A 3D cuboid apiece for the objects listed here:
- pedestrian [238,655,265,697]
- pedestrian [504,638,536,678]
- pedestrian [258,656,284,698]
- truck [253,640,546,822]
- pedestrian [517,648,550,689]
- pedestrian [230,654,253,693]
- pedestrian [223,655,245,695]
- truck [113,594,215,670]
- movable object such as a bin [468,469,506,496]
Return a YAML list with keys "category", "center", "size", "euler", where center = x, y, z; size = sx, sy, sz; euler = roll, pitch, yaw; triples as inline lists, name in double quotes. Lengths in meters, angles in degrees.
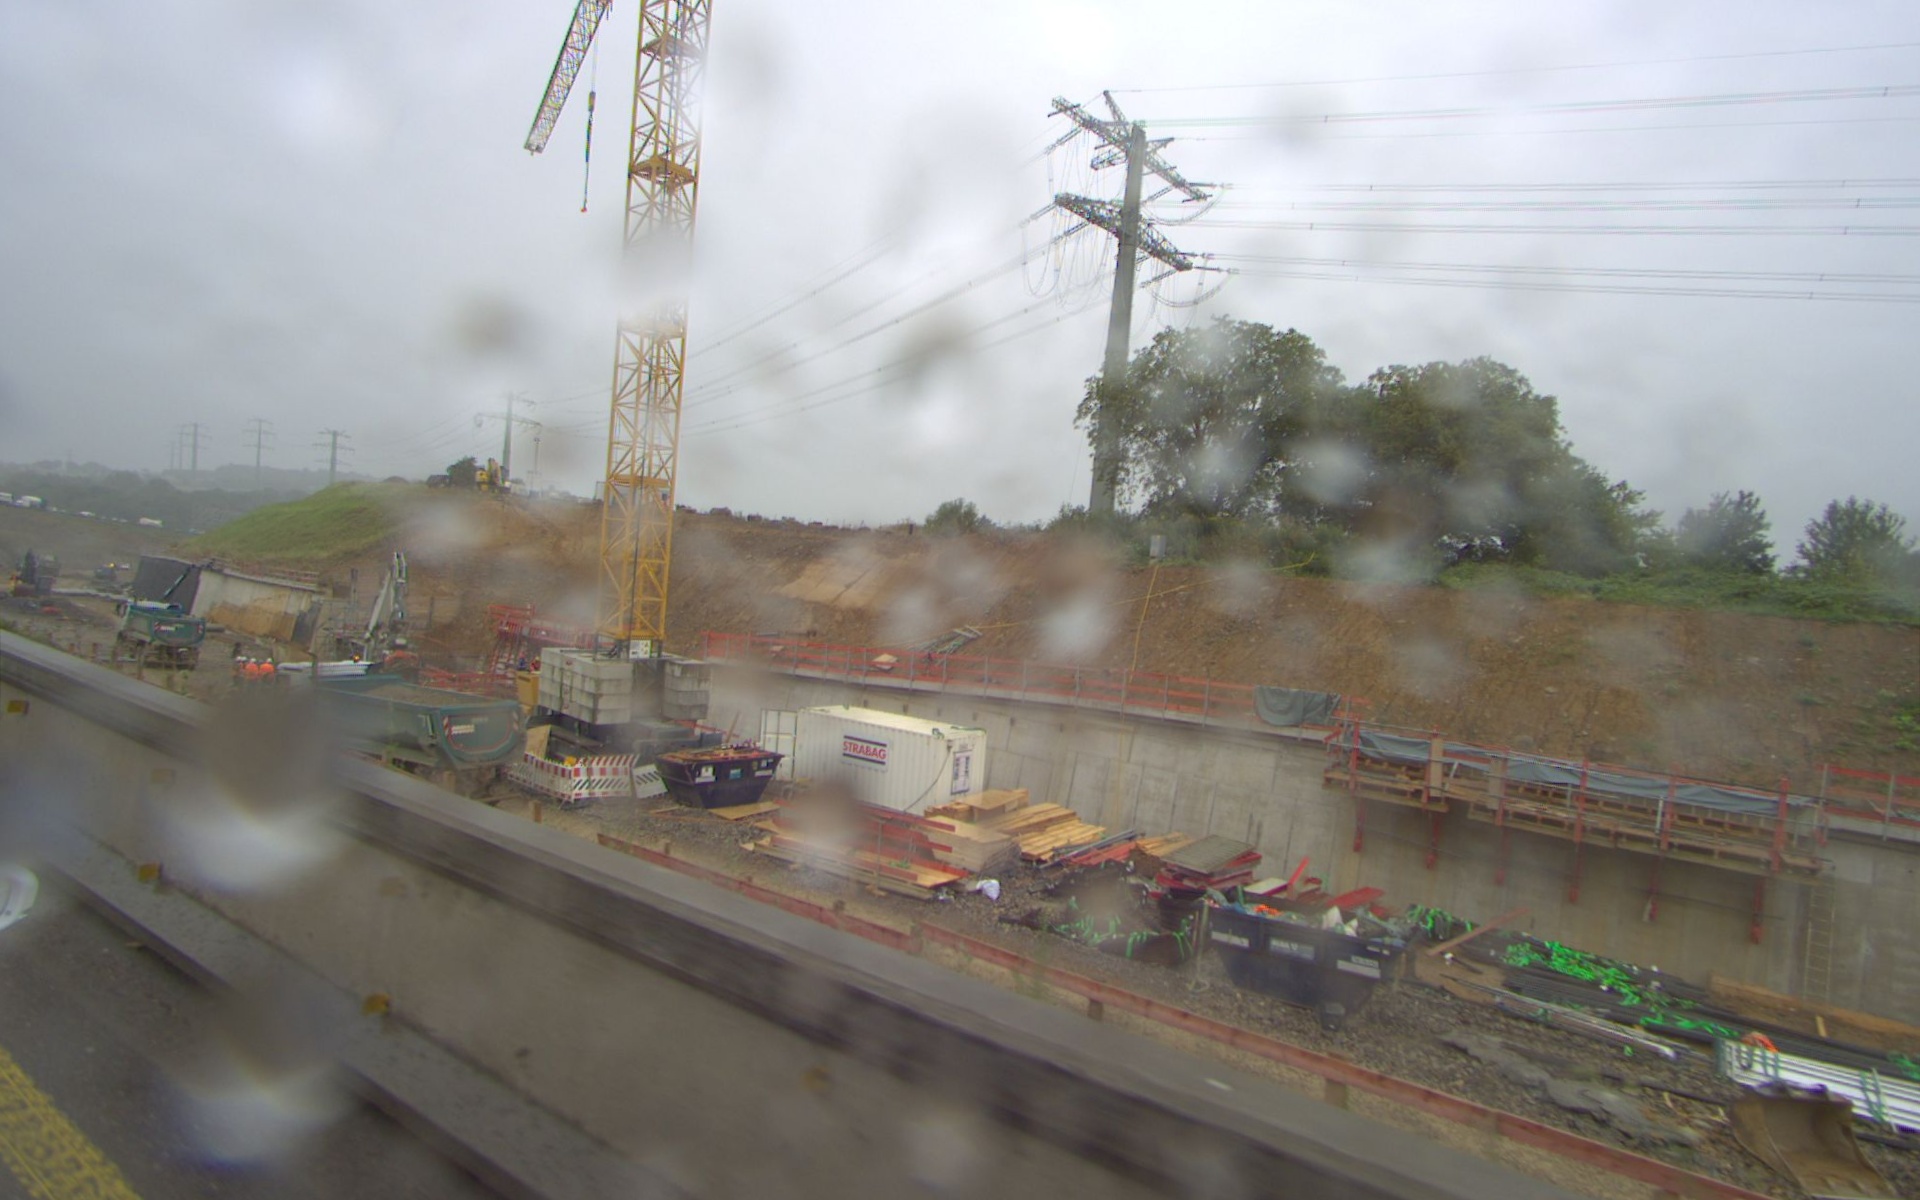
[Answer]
- category: "pedestrian"
  center: [-34.987, 3.729, 49.706]
  size: [0.721, 1.967, 0.575]
  euler: [6, 0, 7]
- category: "pedestrian"
  center: [-24.825, 3.299, 56.808]
  size: [0.886, 2.013, 0.906]
  euler: [5, -11, 39]
- category: "pedestrian"
  center: [-34.214, 3.833, 49.946]
  size: [0.724, 1.967, 0.573]
  euler: [7, 0, -17]
- category: "truck"
  center: [-15.839, 3.439, 28.192]
  size: [8.795, 3.545, 2.705]
  euler: [6, -1, 30]
- category: "pedestrian"
  center: [-23.658, 3.792, 55.765]
  size: [0.886, 2.013, 0.906]
  euler: [5, -11, 39]
- category: "pedestrian"
  center: [-36.214, 3.710, 50.716]
  size: [0.567, 1.892, 0.732]
  euler: [7, 0, -18]
- category: "pedestrian"
  center: [-35.881, 3.718, 49.695]
  size: [0.725, 1.892, 0.572]
  euler: [6, 0, 42]
- category: "truck"
  center: [-47.399, 1.825, 59.781]
  size: [8.935, 3.532, 2.728]
  euler: [6, -1, 40]
- category: "movable object such as a bin"
  center: [-53.326, -13.214, 113.442]
  size: [3.914, 2.473, 2.425]
  euler: [8, 0, 43]
